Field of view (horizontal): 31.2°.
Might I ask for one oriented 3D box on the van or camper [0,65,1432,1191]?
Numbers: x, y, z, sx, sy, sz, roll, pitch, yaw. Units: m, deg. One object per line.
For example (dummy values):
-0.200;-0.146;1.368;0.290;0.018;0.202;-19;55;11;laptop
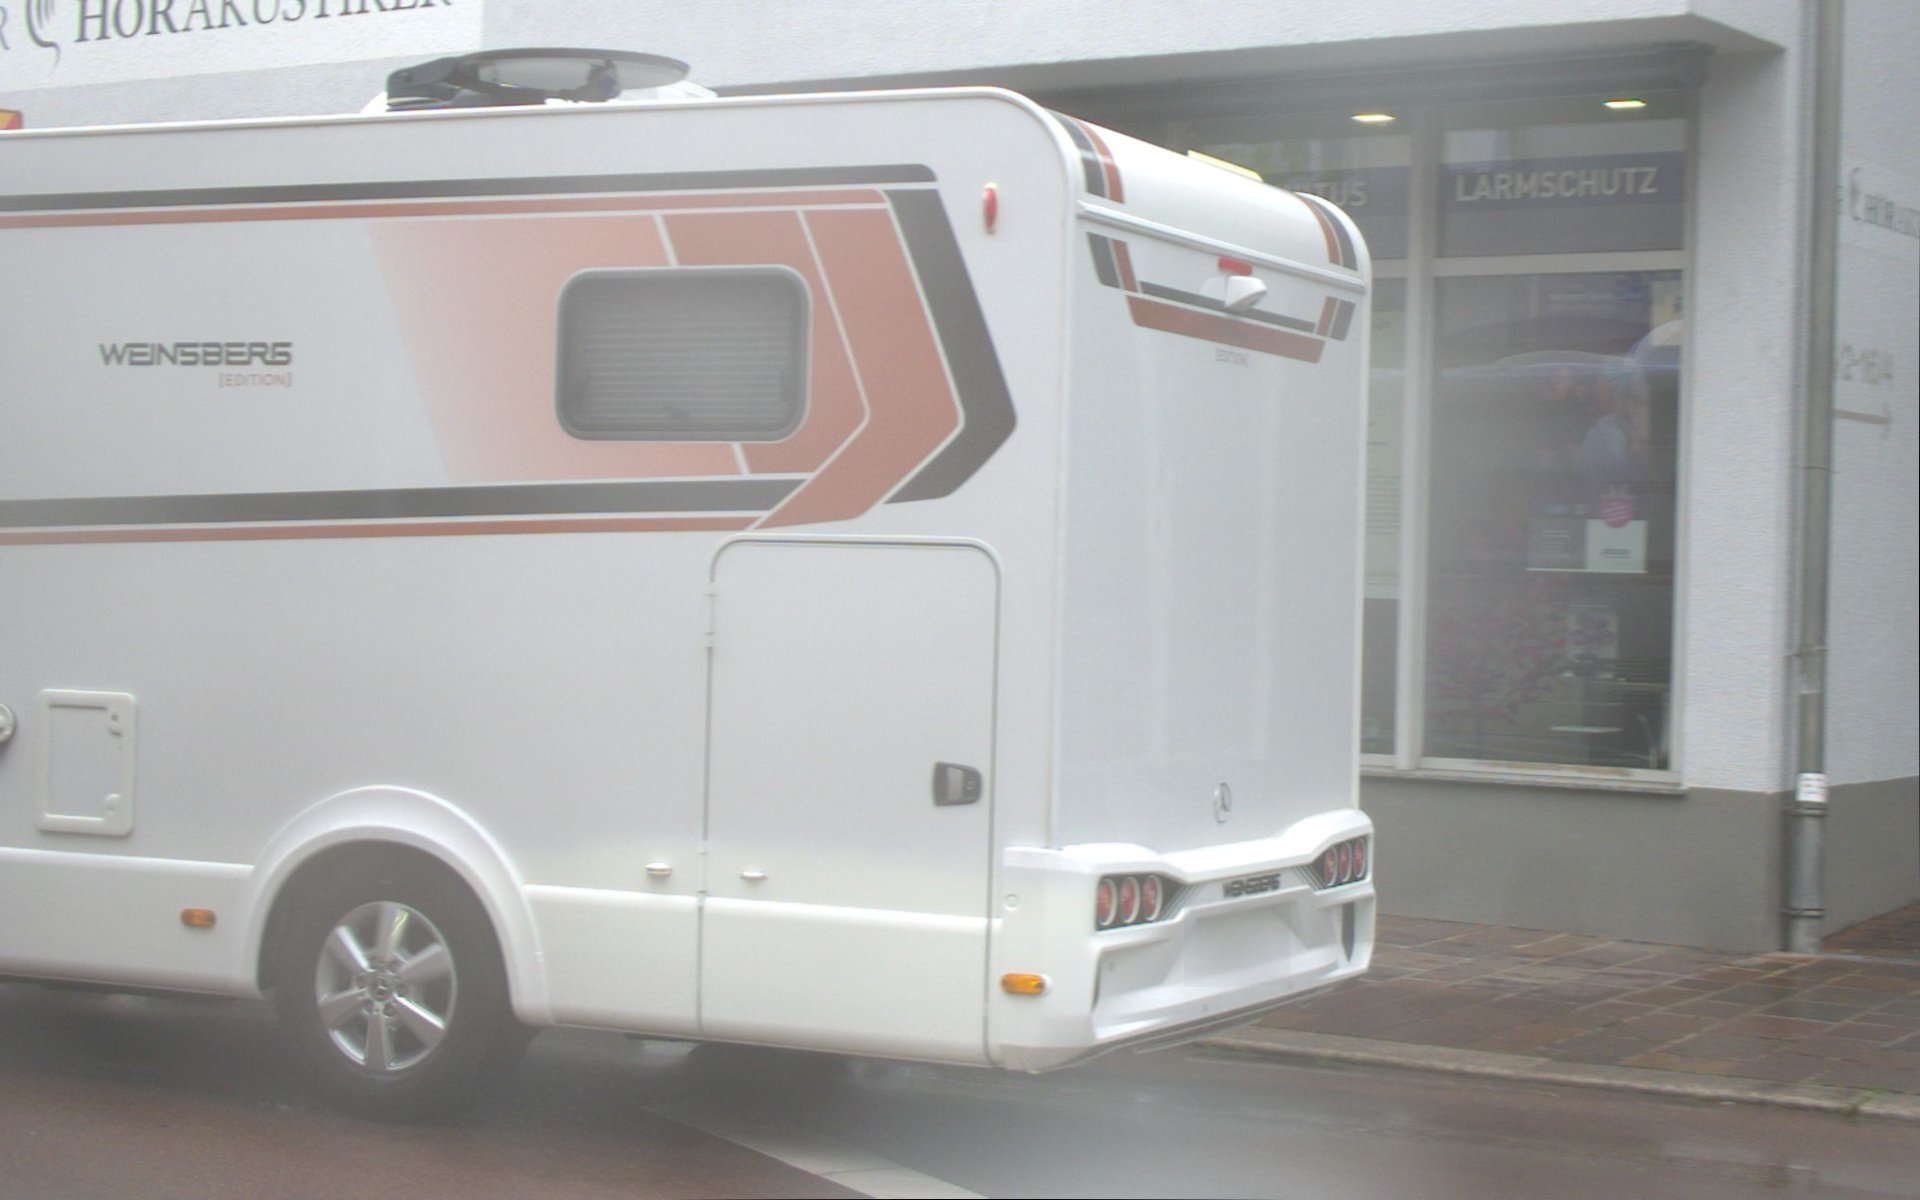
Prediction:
-2.219;-0.026;10.450;6.739;2.577;2.442;2;0;26;van or camper
